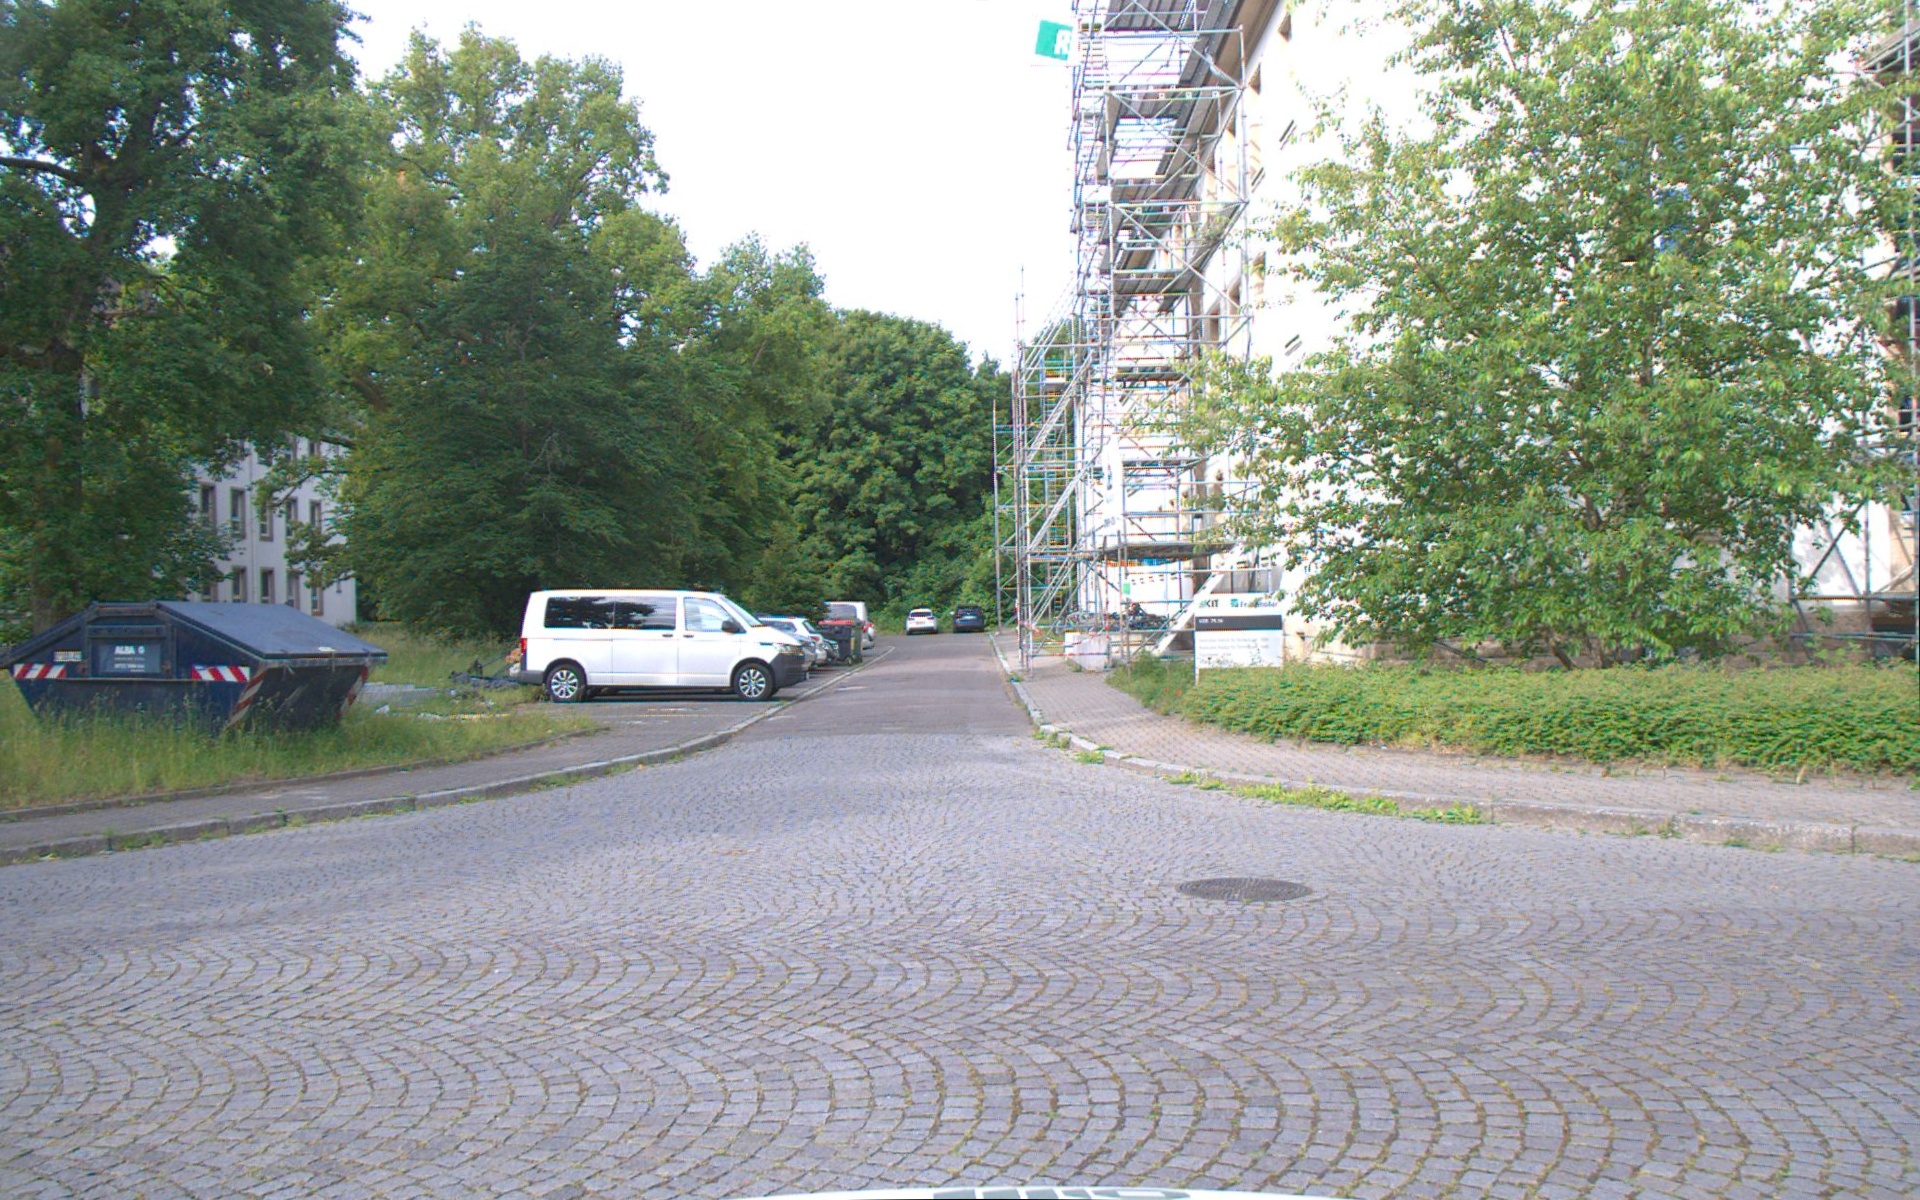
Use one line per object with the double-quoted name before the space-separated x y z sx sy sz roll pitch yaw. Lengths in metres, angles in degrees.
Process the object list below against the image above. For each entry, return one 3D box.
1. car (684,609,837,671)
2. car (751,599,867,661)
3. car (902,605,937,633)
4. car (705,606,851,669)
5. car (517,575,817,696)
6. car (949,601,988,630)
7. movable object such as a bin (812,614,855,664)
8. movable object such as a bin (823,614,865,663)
"car" -5.147 1.037 42.935 3.550 1.507 1.822 1 -1 9
"car" -5.231 1.041 57.731 3.908 2.049 1.920 1 -1 -4
"car" -2.394 1.124 96.318 1.961 1.575 3.956 1 -1 -2
"car" -4.922 1.008 45.090 3.603 1.620 1.766 1 -1 7
"car" -5.262 0.640 30.246 5.094 2.096 2.188 0 -1 0
"car" 0.514 0.926 96.336 2.020 1.621 4.001 1 -1 3
"movable object such as a bin" -3.714 1.137 48.719 1.159 1.432 0.975 1 -1 1
"movable object such as a bin" -3.498 1.159 50.032 1.159 1.432 0.975 1 -1 1
